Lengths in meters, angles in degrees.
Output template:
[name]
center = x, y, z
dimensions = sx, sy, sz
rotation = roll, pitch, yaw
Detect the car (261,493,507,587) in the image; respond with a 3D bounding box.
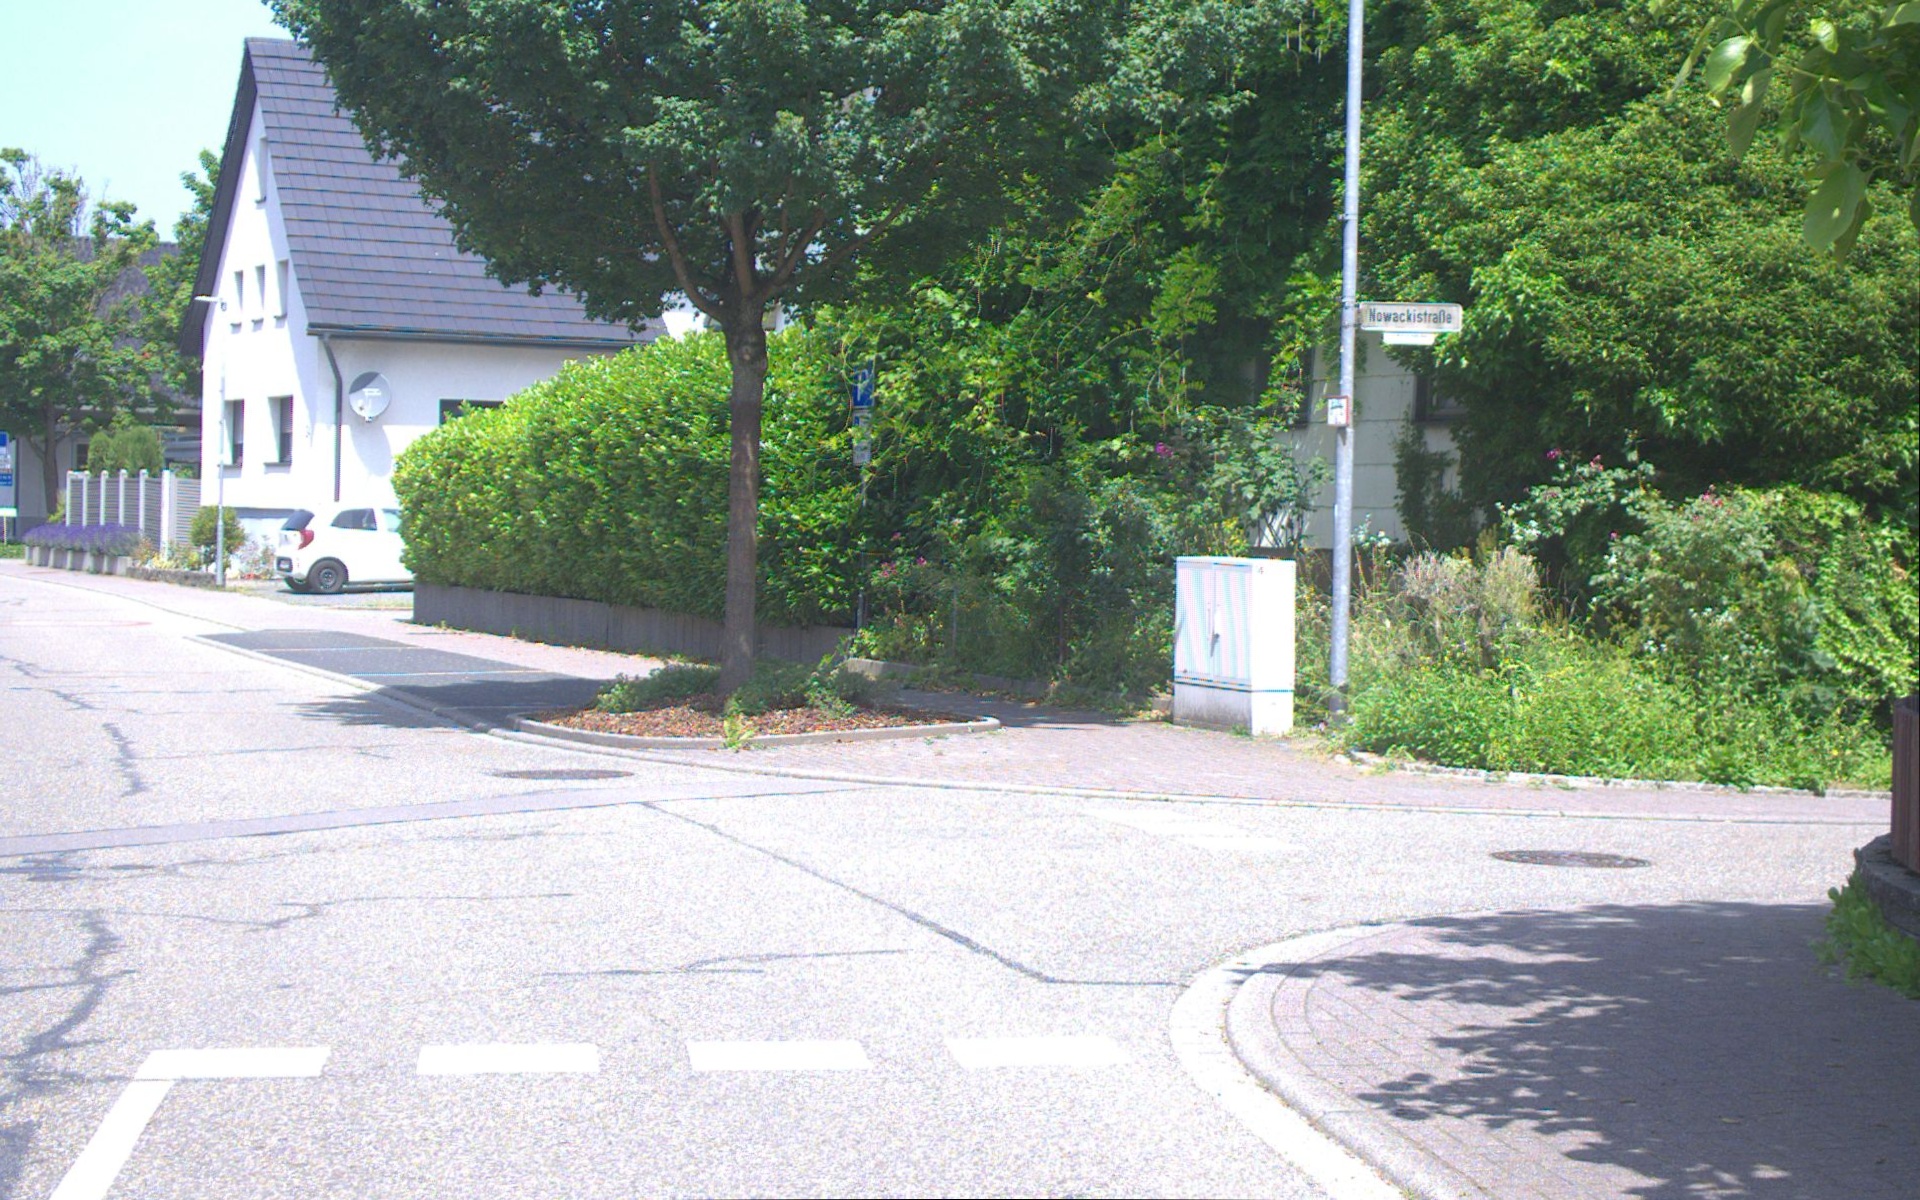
[car]
center = -9.580, -1.019, 57.192
dimensions = 3.657, 1.469, 1.766
rotation = -1, 3, -27
